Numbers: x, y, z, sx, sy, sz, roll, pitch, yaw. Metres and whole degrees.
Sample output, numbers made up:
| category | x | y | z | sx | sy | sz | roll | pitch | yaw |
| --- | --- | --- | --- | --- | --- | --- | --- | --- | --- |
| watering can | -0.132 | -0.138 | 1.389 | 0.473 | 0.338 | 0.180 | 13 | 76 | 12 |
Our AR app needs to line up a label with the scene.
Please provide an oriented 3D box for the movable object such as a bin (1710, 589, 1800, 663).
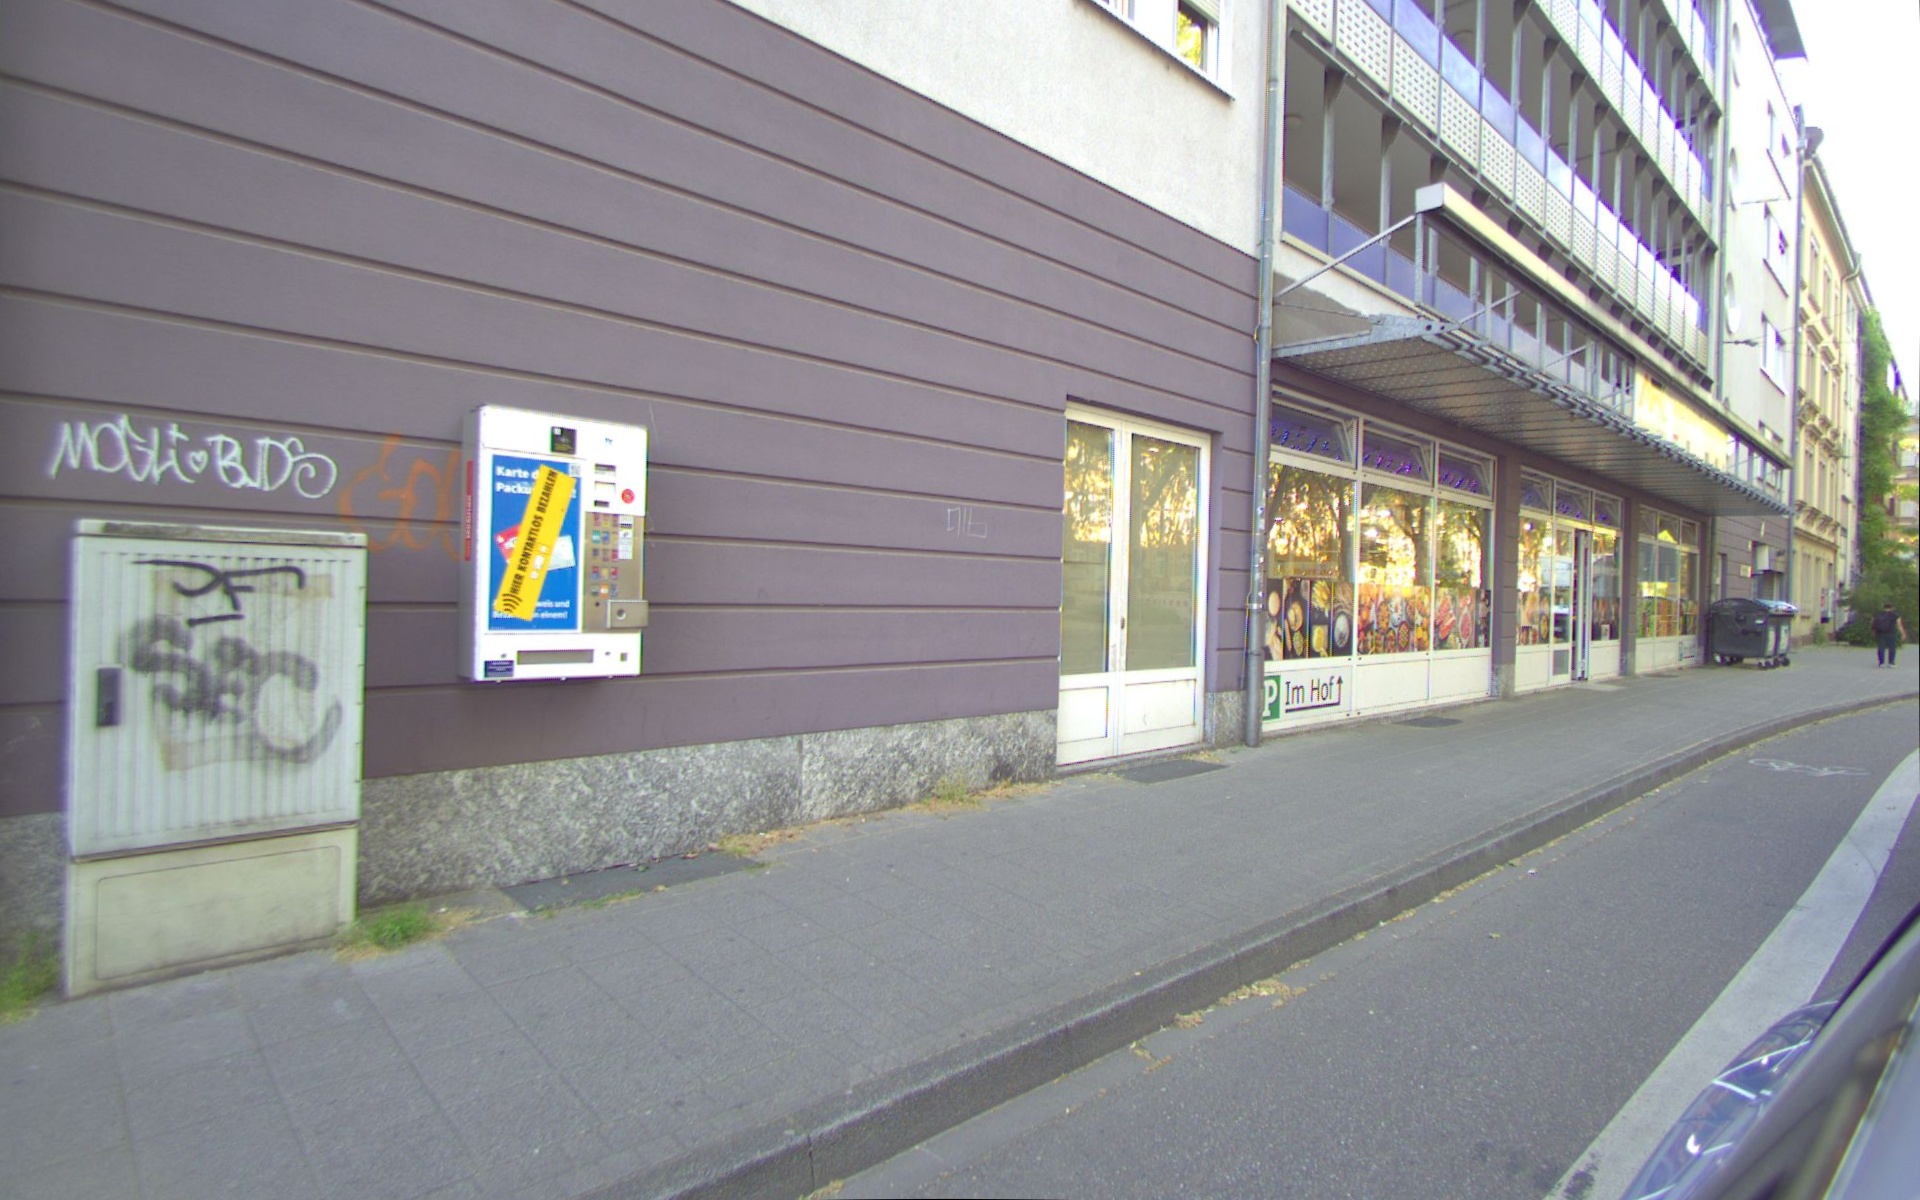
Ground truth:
| category | x | y | z | sx | sy | sz | roll | pitch | yaw |
| --- | --- | --- | --- | --- | --- | --- | --- | --- | --- |
| movable object such as a bin | 16.401 | 0.508 | 20.889 | 1.348 | 1.427 | 1.203 | 1 | 1 | -41 |

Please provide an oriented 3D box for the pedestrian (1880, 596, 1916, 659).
| category | x | y | z | sx | sy | sz | roll | pitch | yaw |
| --- | --- | --- | --- | --- | --- | --- | --- | --- | --- |
| pedestrian | 22.291 | 0.638 | 24.046 | 0.619 | 1.463 | 0.540 | 1 | 1 | -41 |

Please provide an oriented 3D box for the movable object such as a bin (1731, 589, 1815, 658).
| category | x | y | z | sx | sy | sz | roll | pitch | yaw |
| --- | --- | --- | --- | --- | --- | --- | --- | --- | --- |
| movable object such as a bin | 17.850 | 0.488 | 22.218 | 1.348 | 1.427 | 1.203 | 1 | 1 | -41 |
